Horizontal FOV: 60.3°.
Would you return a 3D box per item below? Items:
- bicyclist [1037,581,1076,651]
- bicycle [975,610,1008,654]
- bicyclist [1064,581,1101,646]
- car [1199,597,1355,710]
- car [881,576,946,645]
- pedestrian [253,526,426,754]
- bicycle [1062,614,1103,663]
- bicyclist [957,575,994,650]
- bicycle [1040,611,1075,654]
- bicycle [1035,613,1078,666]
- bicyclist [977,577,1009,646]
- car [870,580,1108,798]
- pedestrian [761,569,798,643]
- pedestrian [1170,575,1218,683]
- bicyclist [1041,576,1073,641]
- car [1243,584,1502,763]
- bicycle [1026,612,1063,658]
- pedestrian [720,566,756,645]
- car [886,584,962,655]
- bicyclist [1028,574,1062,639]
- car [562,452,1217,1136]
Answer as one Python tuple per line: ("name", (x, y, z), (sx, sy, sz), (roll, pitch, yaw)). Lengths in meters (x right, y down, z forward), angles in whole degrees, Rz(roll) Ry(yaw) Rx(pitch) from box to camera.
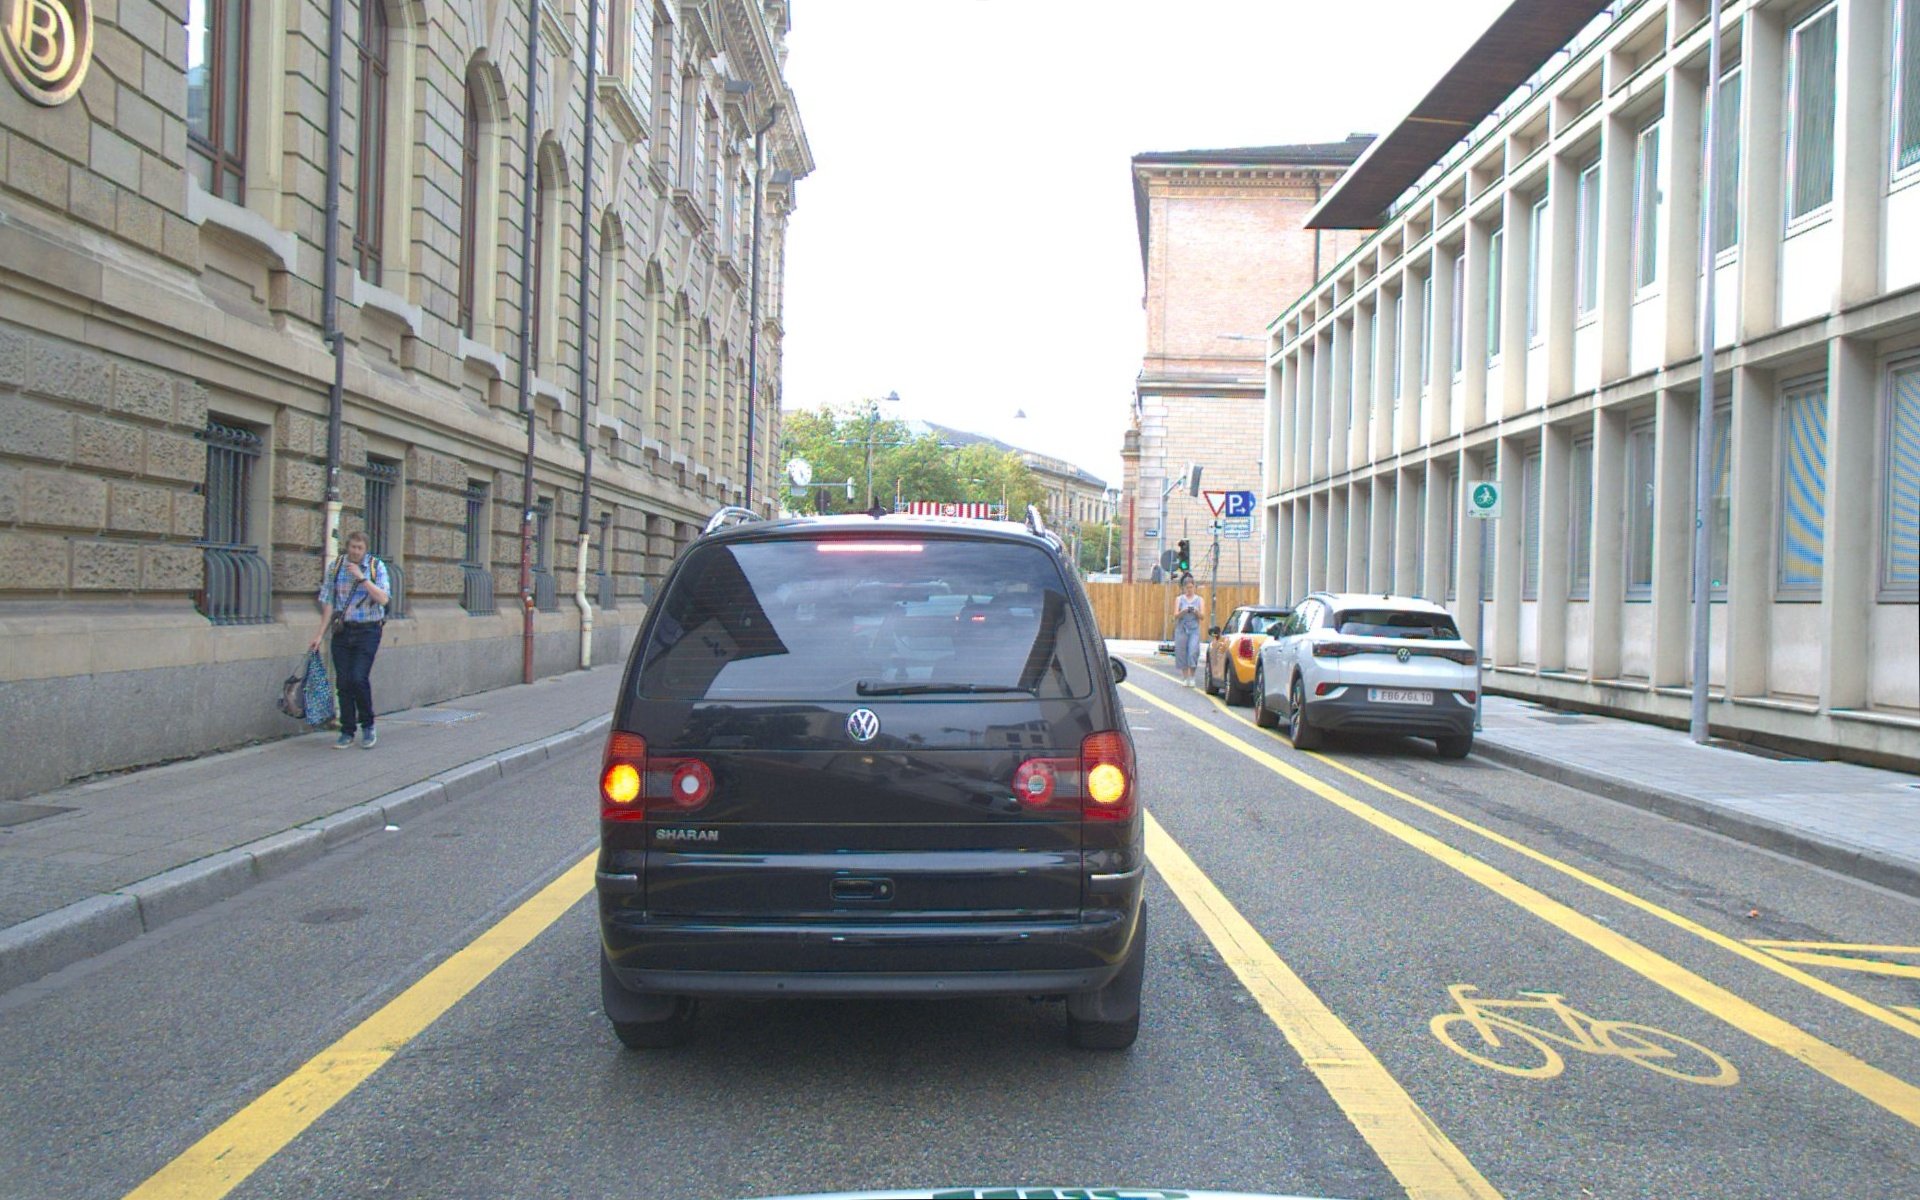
("bicyclist", (1.971, 0.321, 33.833), (0.720, 1.401, 0.828), (1, 0, -1))
("bicycle", (0.762, 0.760, 40.104), (0.720, 1.026, 2.068), (1, 0, -1))
("bicyclist", (2.693, 0.301, 36.419), (0.720, 1.399, 0.831), (1, 0, -1))
("car", (4.698, 0.750, 25.006), (1.645, 1.459, 3.887), (4, 0, 2))
("car", (-1.370, 0.294, 47.247), (1.700, 1.821, 4.100), (2, 0, -4))
("pedestrian", (-5.061, 0.321, 13.550), (1.005, 1.750, 0.818), (3, -1, -1))
("bicycle", (2.683, 0.833, 36.368), (0.720, 1.026, 2.068), (1, 0, -1))
("bicyclist", (0.309, 0.261, 33.817), (0.720, 1.504, 0.884), (1, 0, -1))
("bicycle", (2.443, 0.807, 41.510), (0.720, 1.026, 2.068), (1, 0, -1))
("bicycle", (1.955, 0.788, 33.708), (0.720, 1.026, 2.068), (1, 0, -1))
("bicyclist", (0.794, 0.272, 40.033), (0.720, 1.640, 0.695), (1, -1, -1))
("car", (0.276, 0.634, 13.724), (1.643, 1.495, 4.104), (1, 0, 2))
("pedestrian", (-4.620, 0.152, 42.417), (0.776, 1.851, 1.048), (3, -1, -1))
("pedestrian", (3.980, 0.490, 28.147), (0.689, 1.794, 0.700), (1, -1, -1))
("bicyclist", (2.430, 0.211, 41.463), (0.720, 1.582, 0.895), (1, 0, -1))
("car", (4.455, 0.735, 18.581), (1.822, 1.633, 4.513), (4, 0, 2))
("bicycle", (1.964, 0.797, 38.733), (0.720, 1.026, 2.068), (1, 0, -1))
("pedestrian", (-5.355, 0.129, 40.007), (0.650, 1.851, 1.048), (3, -1, -1))
("car", (-0.870, 0.448, 40.250), (1.737, 1.613, 3.999), (1, 0, -1))
("bicyclist", (1.981, 0.145, 38.759), (0.720, 1.495, 0.808), (1, -1, -1))
("car", (-0.125, 0.533, 6.584), (1.752, 1.821, 4.104), (1, 0, 2))
